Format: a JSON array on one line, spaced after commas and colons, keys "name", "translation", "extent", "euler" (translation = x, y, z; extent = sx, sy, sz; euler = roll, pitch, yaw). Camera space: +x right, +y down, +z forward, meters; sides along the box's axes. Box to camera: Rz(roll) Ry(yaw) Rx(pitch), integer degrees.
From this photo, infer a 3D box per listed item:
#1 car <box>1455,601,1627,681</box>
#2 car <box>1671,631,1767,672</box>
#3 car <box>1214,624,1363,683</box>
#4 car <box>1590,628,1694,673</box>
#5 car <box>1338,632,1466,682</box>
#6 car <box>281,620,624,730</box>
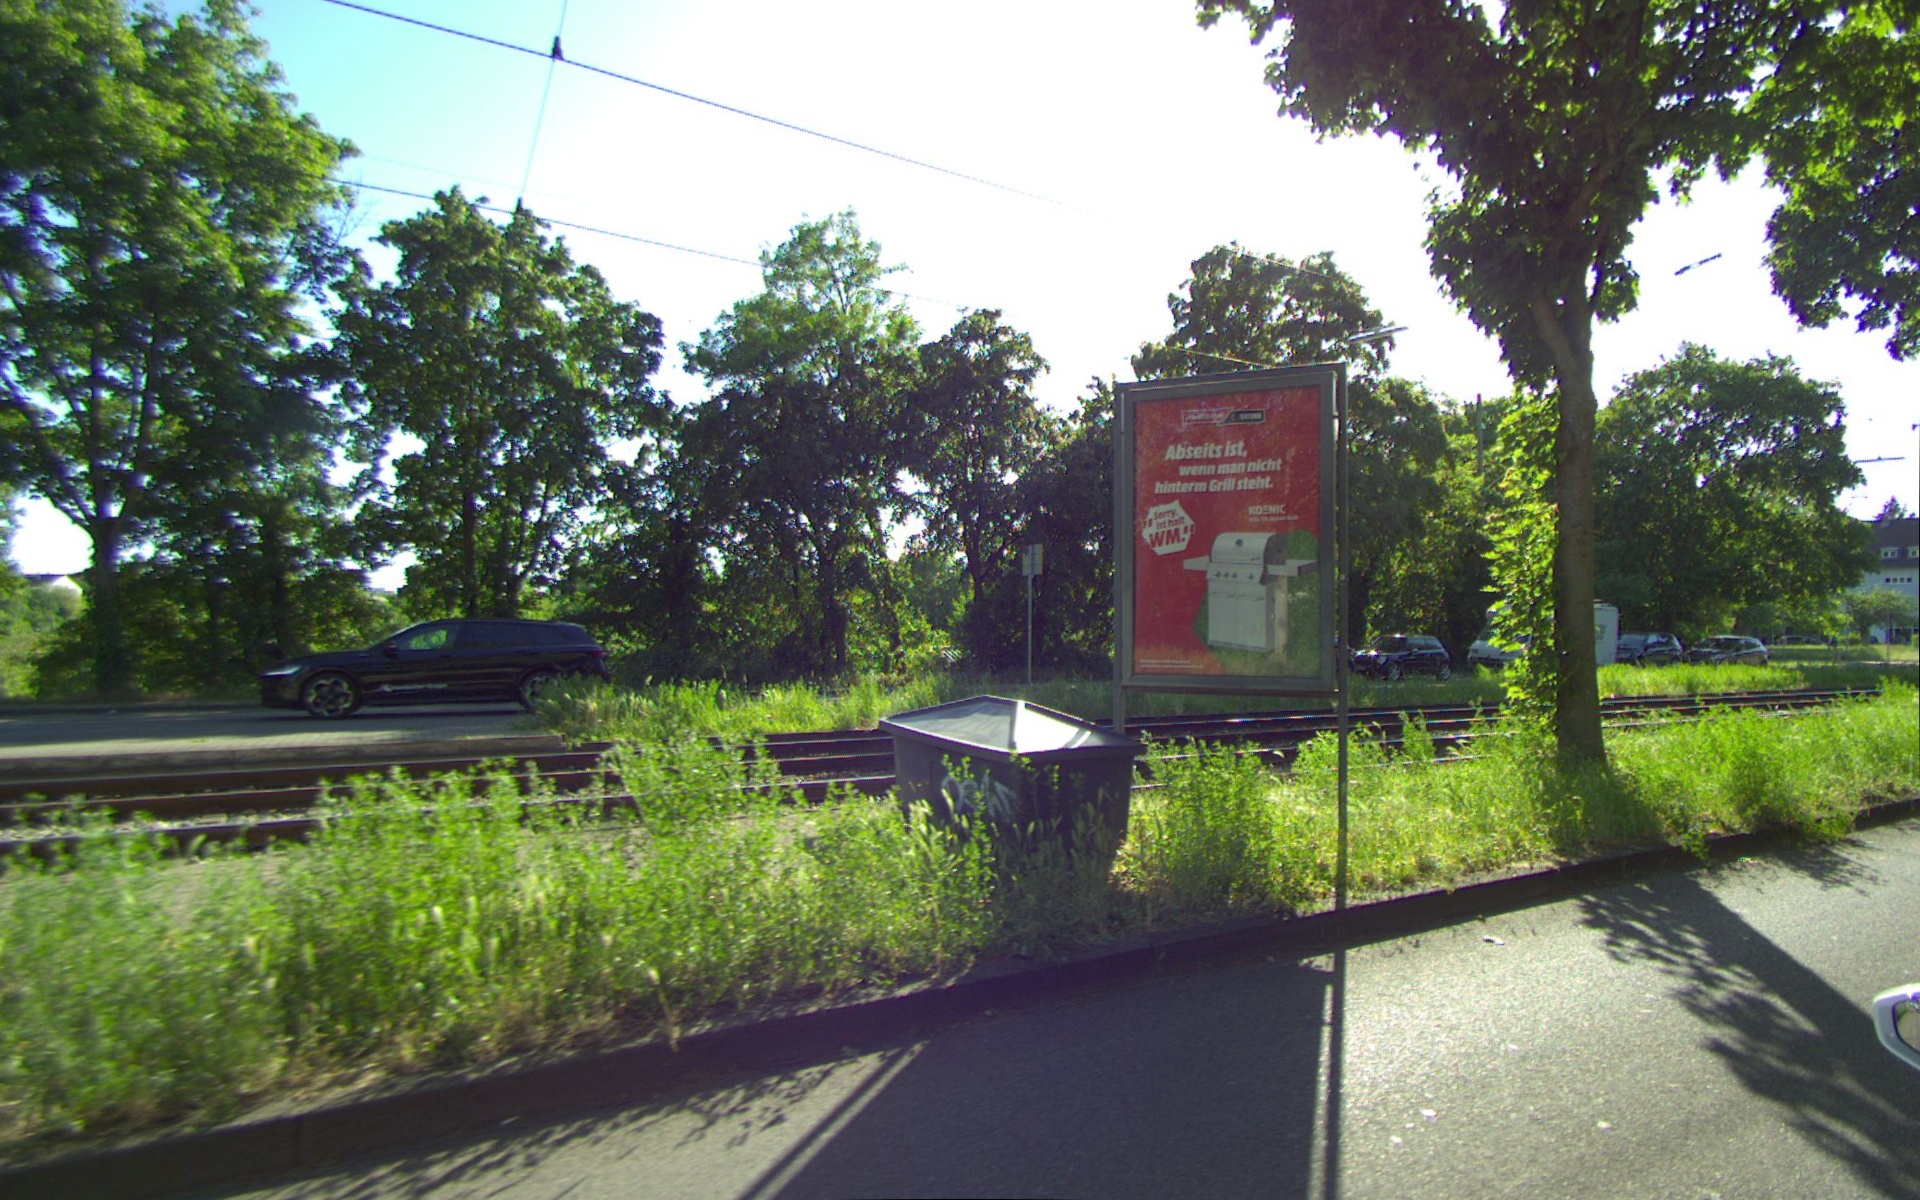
[{"name": "car", "translation": [20.679, 1.396, 35.642], "extent": [6.718, 2.615, 2.215], "euler": [1, 0, -30]}, {"name": "car", "translation": [32.249, 2.177, 42.642], "extent": [4.196, 1.605, 1.667], "euler": [2, 0, -29]}, {"name": "car", "translation": [9.749, 1.572, 29.770], "extent": [4.228, 1.584, 1.760], "euler": [2, -1, -28]}, {"name": "car", "translation": [26.757, 1.959, 39.361], "extent": [4.480, 1.644, 1.614], "euler": [2, 0, -31]}, {"name": "car", "translation": [14.174, 1.804, 32.176], "extent": [3.952, 1.454, 1.703], "euler": [2, 0, -29]}, {"name": "car", "translation": [-7.758, 1.149, 15.695], "extent": [4.536, 1.514, 1.630], "euler": [2, -4, -29]}]
